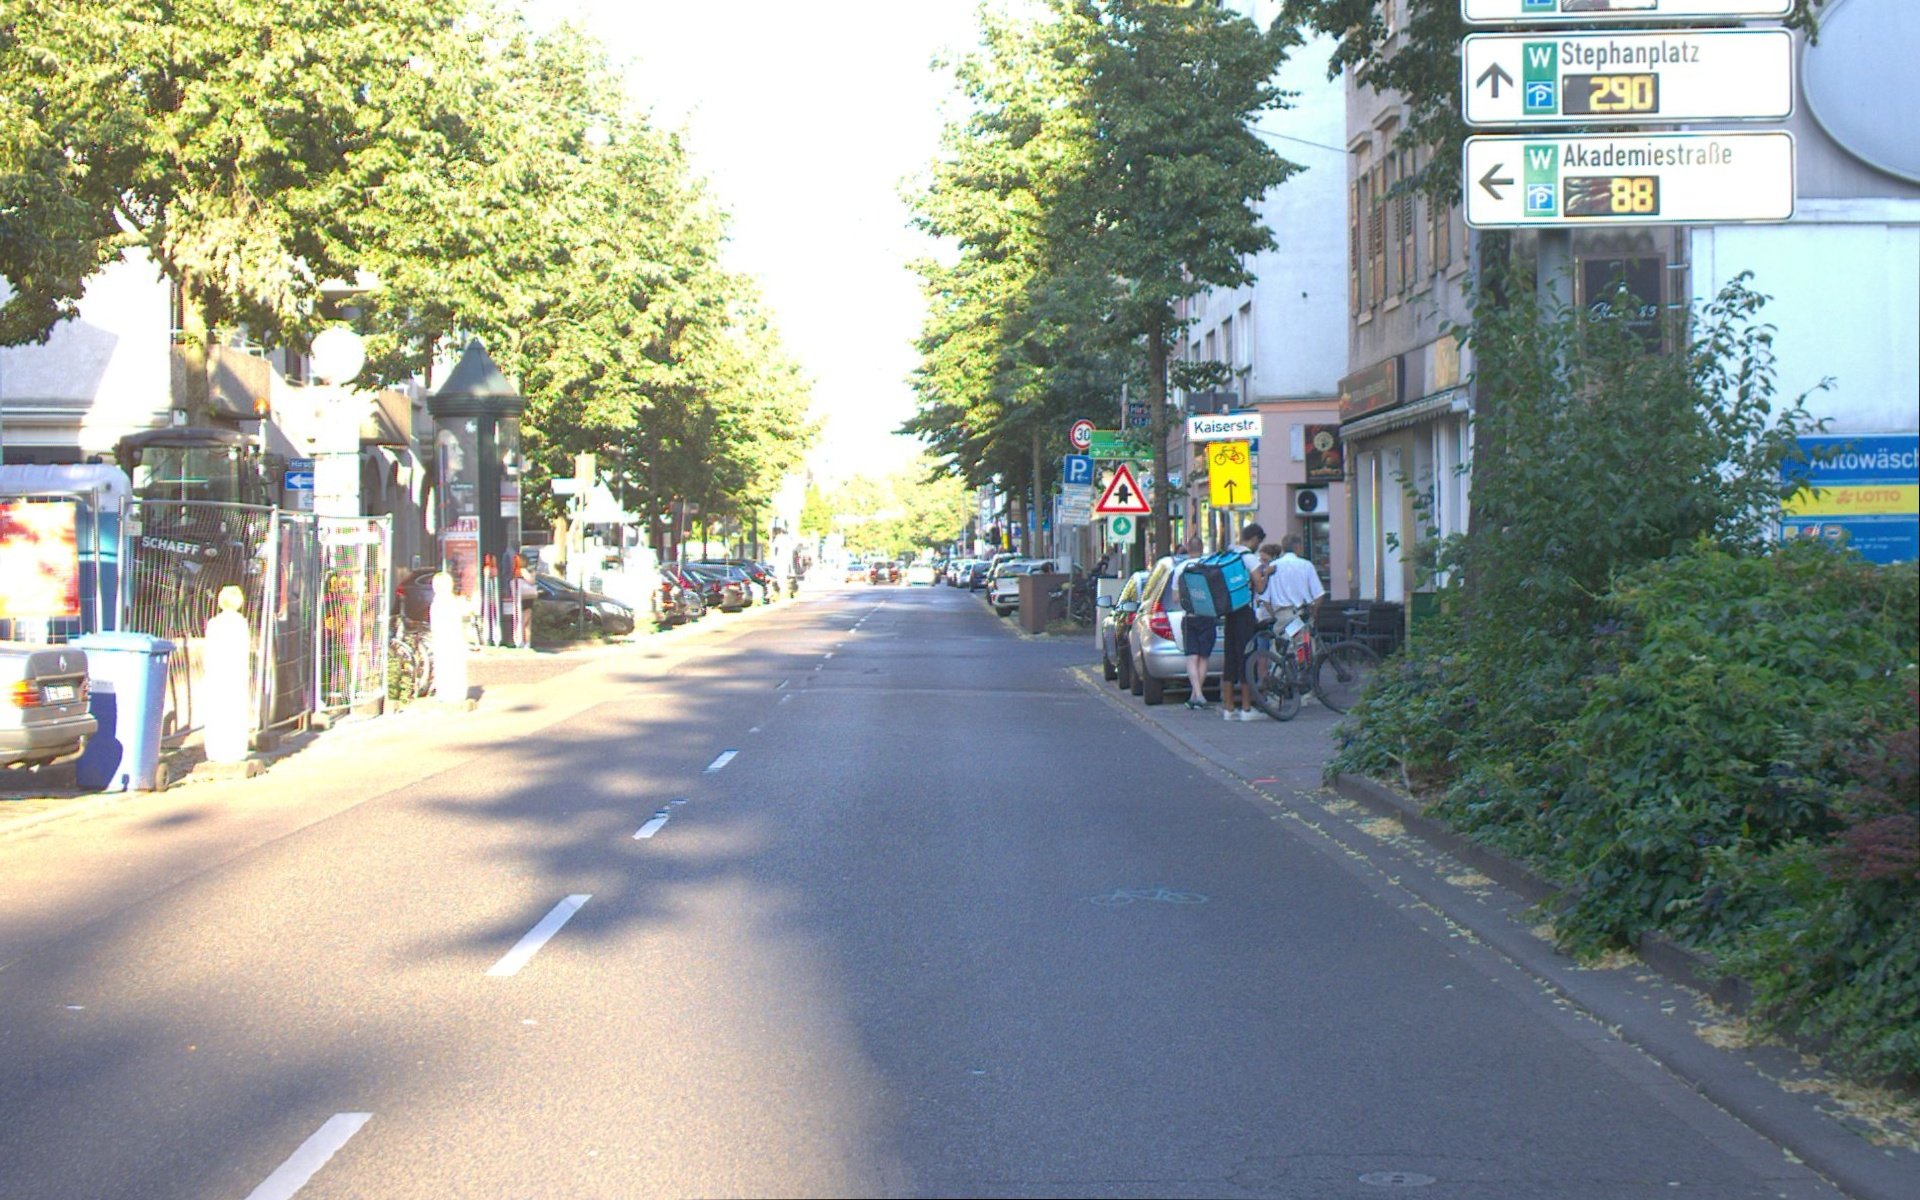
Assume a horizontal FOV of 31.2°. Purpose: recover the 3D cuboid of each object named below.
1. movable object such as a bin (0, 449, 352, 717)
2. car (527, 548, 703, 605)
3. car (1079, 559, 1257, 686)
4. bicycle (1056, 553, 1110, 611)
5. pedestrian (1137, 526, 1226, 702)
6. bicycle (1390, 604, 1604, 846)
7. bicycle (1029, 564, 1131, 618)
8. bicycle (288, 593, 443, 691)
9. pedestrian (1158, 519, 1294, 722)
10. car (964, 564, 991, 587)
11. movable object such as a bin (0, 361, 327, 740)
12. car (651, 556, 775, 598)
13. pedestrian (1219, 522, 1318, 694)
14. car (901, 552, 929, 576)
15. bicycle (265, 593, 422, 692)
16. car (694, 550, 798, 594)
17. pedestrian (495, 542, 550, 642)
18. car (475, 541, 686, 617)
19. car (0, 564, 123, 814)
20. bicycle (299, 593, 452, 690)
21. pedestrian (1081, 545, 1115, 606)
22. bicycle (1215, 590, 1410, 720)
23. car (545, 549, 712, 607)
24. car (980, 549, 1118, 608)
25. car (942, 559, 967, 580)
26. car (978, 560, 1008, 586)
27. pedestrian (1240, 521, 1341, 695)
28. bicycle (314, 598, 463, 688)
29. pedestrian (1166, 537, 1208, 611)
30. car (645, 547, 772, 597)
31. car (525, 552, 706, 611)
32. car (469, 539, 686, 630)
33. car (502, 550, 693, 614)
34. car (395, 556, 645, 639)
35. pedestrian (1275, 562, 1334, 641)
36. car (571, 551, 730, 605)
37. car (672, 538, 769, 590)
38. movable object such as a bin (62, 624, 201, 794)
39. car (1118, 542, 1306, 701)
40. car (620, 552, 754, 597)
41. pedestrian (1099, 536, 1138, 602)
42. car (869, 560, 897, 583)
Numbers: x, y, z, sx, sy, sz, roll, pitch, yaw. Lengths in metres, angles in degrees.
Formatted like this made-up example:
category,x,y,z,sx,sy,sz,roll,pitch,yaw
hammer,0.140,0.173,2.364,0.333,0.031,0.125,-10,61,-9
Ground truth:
category,x,y,z,sx,sy,sz,roll,pitch,yaw
movable object such as a bin,-8.982,-0.181,33.607,2.312,2.486,5.740,0,1,43
car,-9.052,-0.623,90.472,4.442,1.453,1.859,0,1,0
car,2.514,0.237,42.431,1.785,1.371,4.524,-3,1,-1
bicycle,2.555,-0.375,71.127,0.598,1.174,1.844,0,1,19
pedestrian,2.248,0.136,34.952,0.677,1.748,0.825,-1,1,-11
bicycle,2.839,0.636,18.056,0.483,1.139,1.678,-3,1,30
bicycle,2.426,-0.186,69.669,1.957,1.070,0.704,0,1,31
bicycle,-6.910,0.482,39.978,1.683,1.075,0.444,2,0,8
pedestrian,2.475,0.181,32.075,1.013,1.819,0.780,-3,1,-10
car,0.991,-1.378,192.155,1.513,1.259,3.303,0,0,1
movable object such as a bin,-7.220,-0.424,29.561,2.625,2.959,5.304,0,1,-1
car,-9.114,-0.854,127.190,4.442,1.494,1.919,0,1,0
pedestrian,3.147,0.080,35.121,0.677,1.700,0.825,-3,1,-15
car,-2.876,-2.293,219.810,1.721,1.470,3.303,-1,0,1
bicycle,-7.062,0.487,39.386,1.682,1.075,0.444,2,0,-1
car,-9.420,-1.242,151.381,4.442,1.953,1.919,0,1,0
pedestrian,-7.402,-0.140,58.213,0.710,1.680,0.833,0,1,9
car,-8.635,-0.479,78.475,4.571,1.692,2.060,0,1,0
car,-7.761,0.508,21.438,4.594,1.465,1.892,0,1,2
bicycle,-6.891,0.491,40.565,1.683,1.075,0.444,2,0,8
pedestrian,3.126,-0.551,77.825,0.726,1.374,0.781,0,1,0
bicycle,3.297,0.504,32.034,0.866,1.095,1.922,-2,2,38
car,-9.168,-0.610,95.459,4.442,1.562,1.919,0,1,0
car,2.458,-0.609,94.362,1.674,1.583,3.814,1,1,42
car,-0.326,-1.905,214.890,1.513,1.294,3.303,0,0,1
car,1.690,-1.371,173.997,1.513,1.271,3.303,0,0,1
pedestrian,3.316,0.082,34.513,0.651,1.694,0.667,-4,1,-44
bicycle,-6.862,0.516,41.289,1.683,1.018,0.444,2,0,8
pedestrian,4.996,-0.583,75.569,0.797,1.620,0.911,0,1,12
car,-9.062,-1.019,124.069,4.442,1.753,1.919,0,1,0
car,-8.809,-0.482,88.167,4.442,1.479,1.809,0,1,0
car,-8.399,-0.347,75.814,4.571,1.955,1.991,0,1,-1
car,-8.789,-0.444,83.597,4.442,1.501,1.845,0,0,0
car,-8.344,-0.057,65.442,4.546,1.536,1.811,0,1,-1
pedestrian,5.143,0.032,51.391,0.682,1.137,1.361,-2,-1,-1
car,-8.988,-0.646,100.105,4.442,1.562,1.919,0,1,0
car,-11.223,-1.685,161.363,4.442,2.426,1.919,0,0,0
movable object such as a bin,-5.645,0.731,23.469,0.690,1.101,0.883,-1,1,1
car,2.730,0.191,38.002,1.687,1.569,4.013,-3,1,0
car,-9.319,-0.880,117.567,4.442,1.518,1.919,0,1,0
pedestrian,4.643,-0.906,100.914,0.916,1.919,1.018,1,1,-10
car,-5.199,-1.928,231.007,1.752,1.535,3.303,-1,0,1
